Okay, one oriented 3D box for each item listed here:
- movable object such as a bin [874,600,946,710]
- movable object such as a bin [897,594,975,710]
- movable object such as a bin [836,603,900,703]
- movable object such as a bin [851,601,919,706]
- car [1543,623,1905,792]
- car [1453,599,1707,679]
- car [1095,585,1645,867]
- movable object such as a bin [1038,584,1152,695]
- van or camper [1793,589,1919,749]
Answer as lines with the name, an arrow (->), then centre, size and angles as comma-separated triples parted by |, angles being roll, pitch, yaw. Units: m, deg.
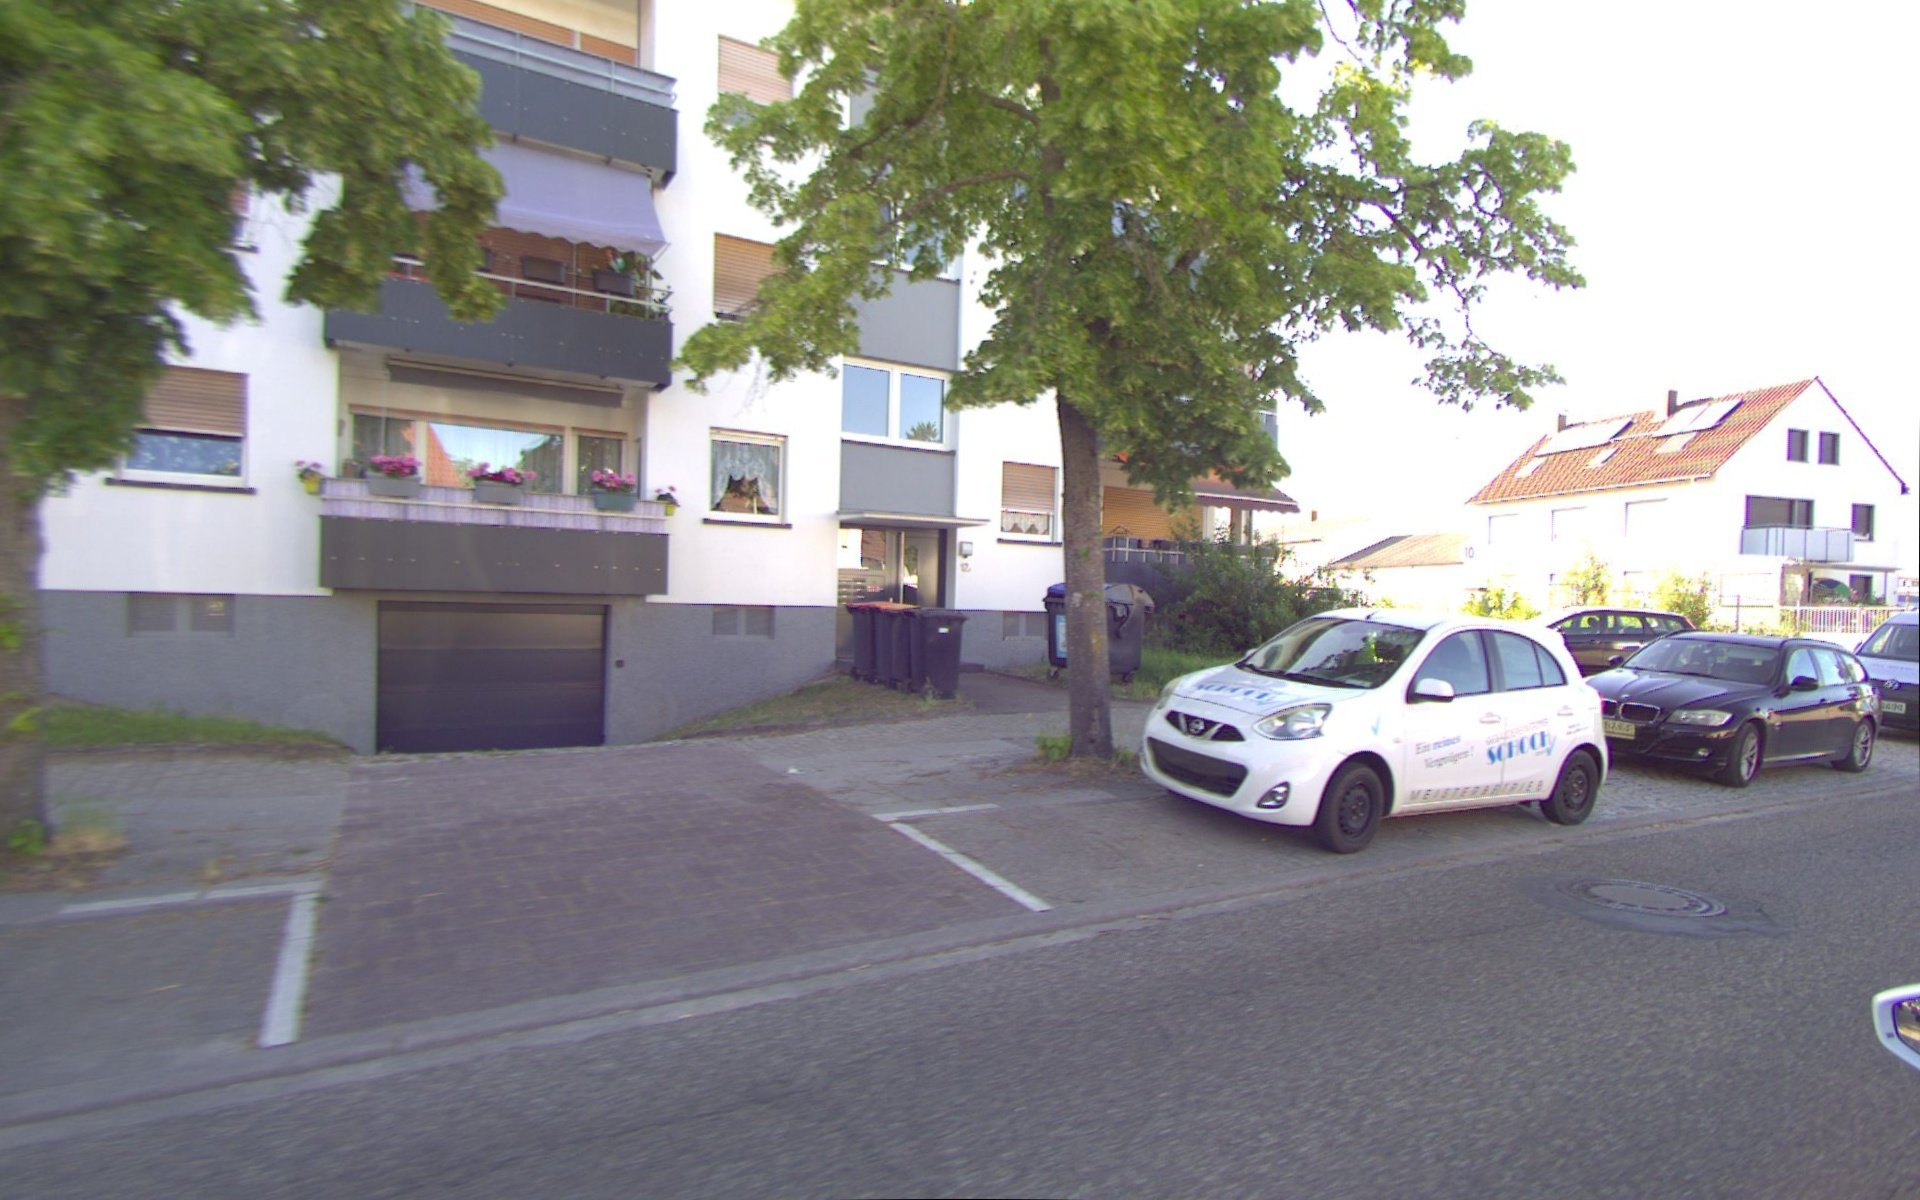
movable object such as a bin -> -0.616, 0.656, 12.301 | 0.663, 1.296, 0.636 | 1, 0, -28
movable object such as a bin -> -0.285, 0.589, 11.702 | 0.663, 1.296, 0.684 | 1, 0, -28
movable object such as a bin -> -1.241, 0.692, 13.487 | 0.663, 1.296, 0.636 | 1, 0, -28
movable object such as a bin -> -0.964, 0.671, 12.866 | 0.663, 1.296, 0.636 | 1, 0, -28
car -> 8.379, 1.025, 10.930 | 4.262, 1.454, 1.601 | 1, 2, -30
car -> 13.117, 0.791, 21.482 | 4.299, 1.534, 1.615 | 1, 0, 10
car -> 3.109, 0.765, 7.531 | 3.858, 1.587, 1.686 | 1, 3, -28
movable object such as a bin -> 1.917, 0.538, 14.344 | 1.101, 1.502, 1.226 | 1, 0, -28
van or camper -> 14.248, 0.946, 14.600 | 4.229, 2.041, 1.868 | 1, 3, -30
